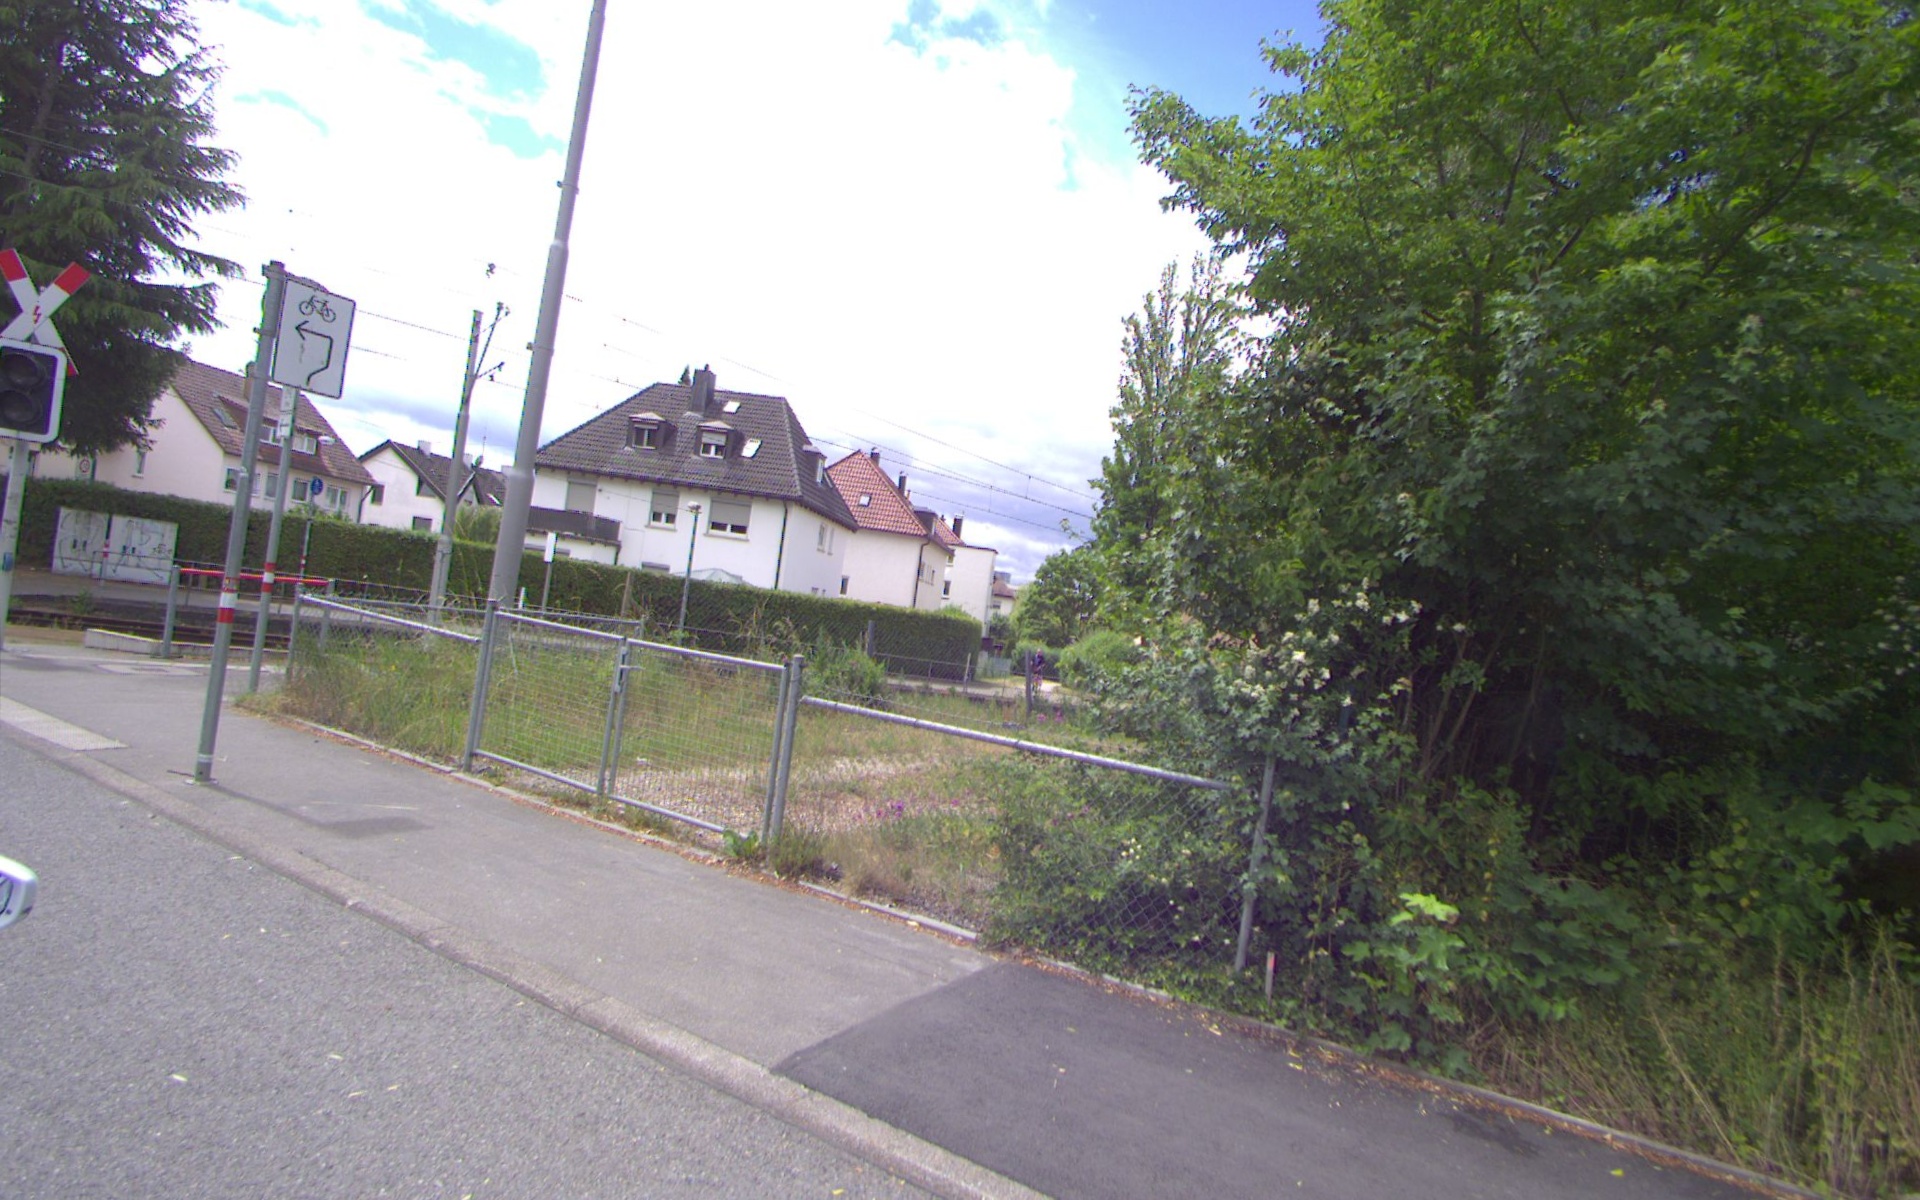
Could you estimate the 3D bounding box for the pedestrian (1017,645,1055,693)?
[{"bbox_3d":[2.952,2.674,39.196,0.910,1.707,0.925,8,-1,-31],"label":"pedestrian"}]
